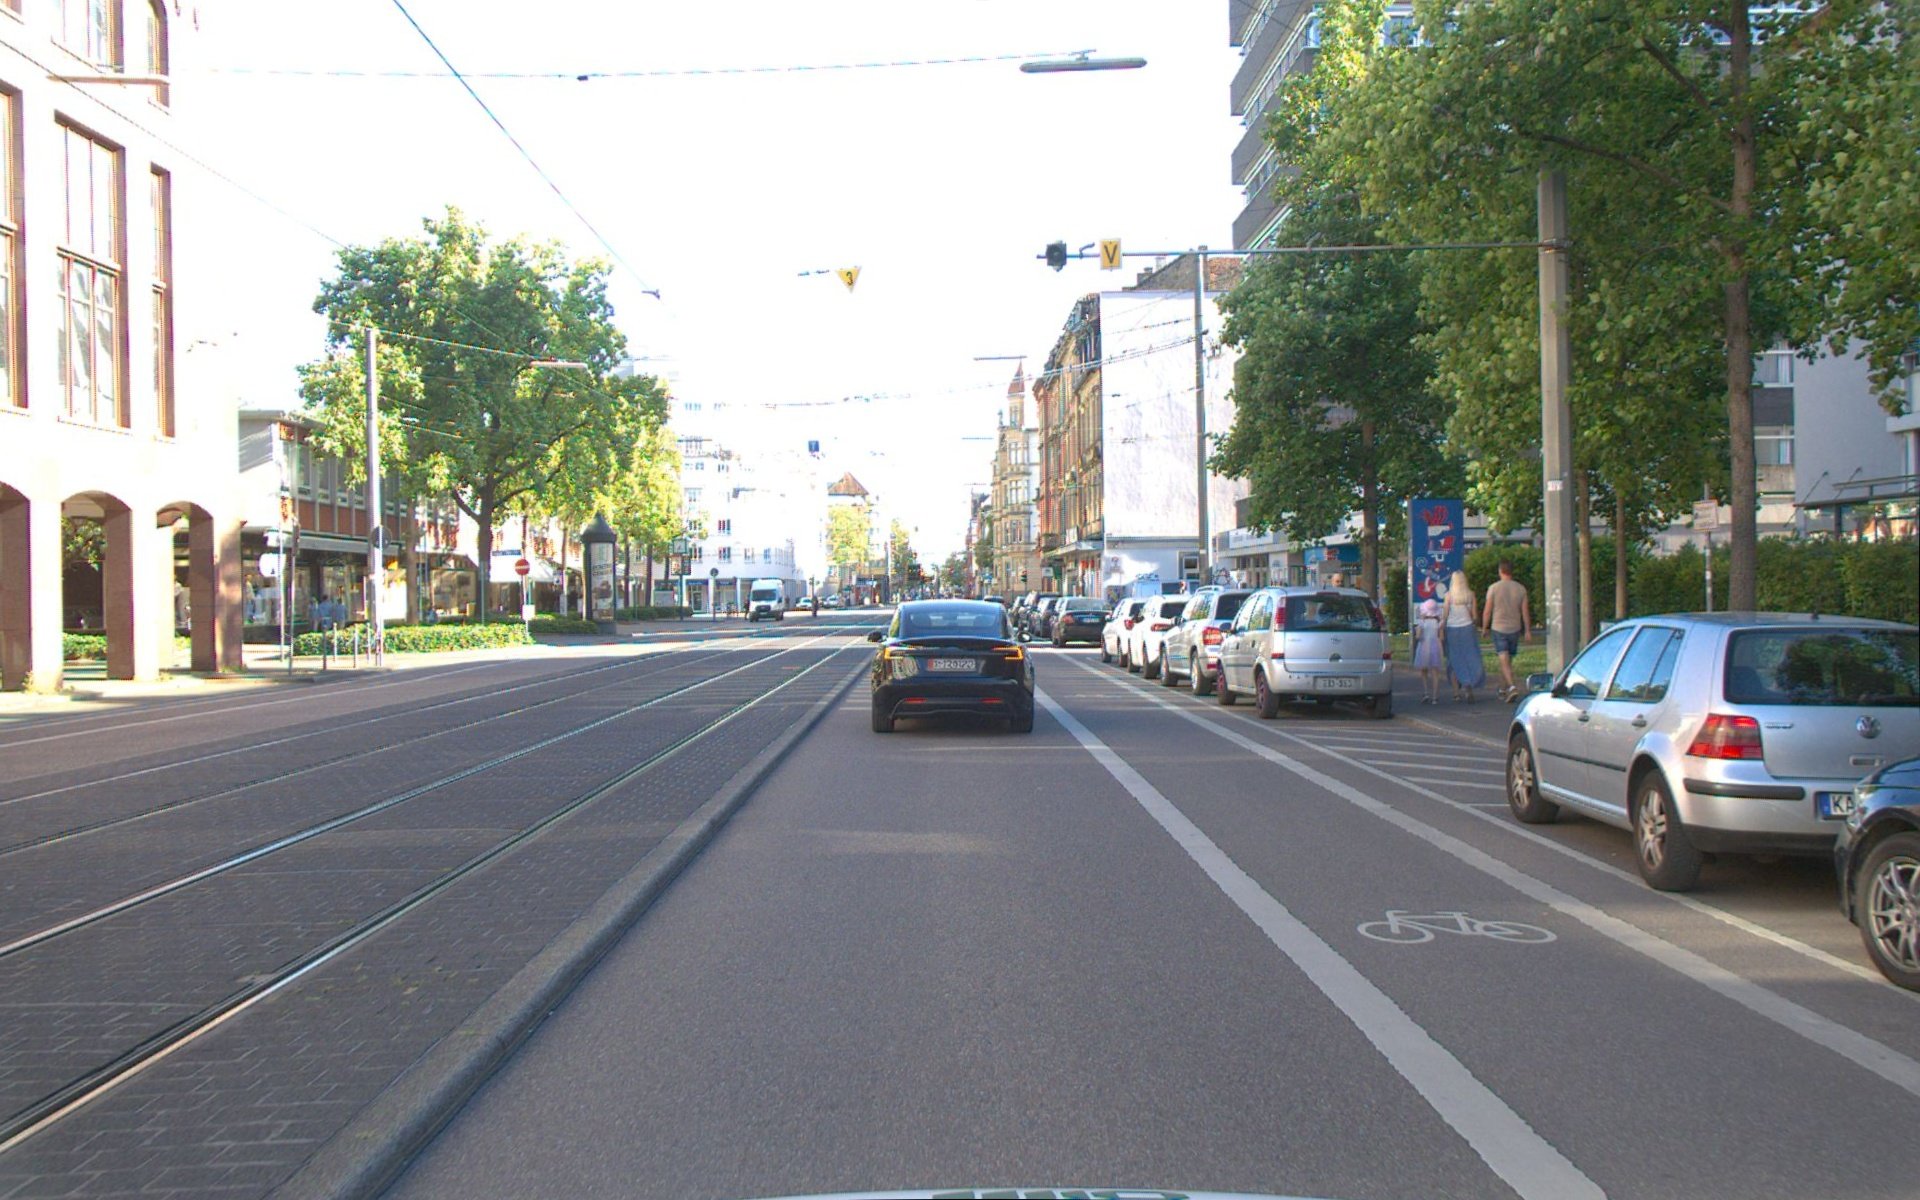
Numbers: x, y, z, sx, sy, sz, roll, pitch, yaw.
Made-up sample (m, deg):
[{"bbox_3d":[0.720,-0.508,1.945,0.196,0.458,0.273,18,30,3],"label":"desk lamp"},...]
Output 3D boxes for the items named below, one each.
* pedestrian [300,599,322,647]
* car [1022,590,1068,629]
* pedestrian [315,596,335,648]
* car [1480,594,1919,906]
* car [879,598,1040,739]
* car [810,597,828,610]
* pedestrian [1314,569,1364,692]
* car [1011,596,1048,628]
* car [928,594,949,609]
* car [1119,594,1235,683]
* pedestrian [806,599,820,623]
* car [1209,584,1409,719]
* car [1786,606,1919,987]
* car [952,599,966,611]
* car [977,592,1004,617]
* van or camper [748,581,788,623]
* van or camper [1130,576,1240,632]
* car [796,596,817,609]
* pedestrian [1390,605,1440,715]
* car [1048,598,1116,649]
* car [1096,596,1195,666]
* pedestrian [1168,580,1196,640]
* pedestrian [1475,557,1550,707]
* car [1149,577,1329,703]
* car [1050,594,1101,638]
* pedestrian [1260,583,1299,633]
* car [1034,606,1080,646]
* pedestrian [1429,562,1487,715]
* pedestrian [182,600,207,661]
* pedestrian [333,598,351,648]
[{"bbox_3d":[-25.534,0.908,65.107,0.614,1.879,0.672,0,0,-4],"label":"pedestrian"},{"bbox_3d":[3.716,0.415,72.982,1.792,1.656,4.095,0,-1,0],"label":"car"},{"bbox_3d":[-23.563,0.819,61.383,0.580,1.905,0.537,0,0,-10],"label":"pedestrian"},{"bbox_3d":[4.603,0.719,10.158,1.713,1.468,4.317,0,1,4],"label":"car"},{"bbox_3d":[-0.063,0.721,19.218,1.685,1.430,3.709,0,1,-2],"label":"car"},{"bbox_3d":[-17.735,0.406,208.414,1.953,1.521,3.999,-2,0,-1],"label":"car"},{"bbox_3d":[5.797,0.459,25.317,0.598,1.839,0.603,-2,0,3],"label":"pedestrian"},{"bbox_3d":[3.477,0.584,83.750,1.680,1.498,3.719,-2,0,0],"label":"car"},{"bbox_3d":[-2.315,0.159,175.623,1.955,1.552,3.996,-1,0,-5],"label":"car"},{"bbox_3d":[4.165,0.690,32.336,1.511,1.597,4.441,0,0,-3],"label":"car"},{"bbox_3d":[-10.408,0.783,116.952,0.826,1.725,0.797,1,0,6],"label":"pedestrian"},{"bbox_3d":[4.536,0.606,22.093,1.679,1.618,4.064,0,1,-2],"label":"car"},{"bbox_3d":[4.643,0.783,5.217,1.766,1.460,4.322,1,0,-2],"label":"car"},{"bbox_3d":[-0.154,0.664,221.821,1.808,1.620,4.000,-2,0,0],"label":"car"},{"bbox_3d":[1.848,0.270,101.542,1.561,1.458,3.686,-2,0,0],"label":"car"},{"bbox_3d":[-12.907,0.116,111.692,2.097,2.700,6.877,-2,0,-2],"label":"van or camper"},{"bbox_3d":[9.953,0.177,73.446,4.548,2.173,1.988,-4,0,3],"label":"van or camper"},{"bbox_3d":[-17.066,0.285,183.800,1.953,1.392,3.999,-2,0,-1],"label":"car"},{"bbox_3d":[6.133,0.798,22.307,0.446,1.422,0.423,-6,0,4],"label":"pedestrian"},{"bbox_3d":[3.738,0.694,51.160,1.676,1.482,4.549,0,0,-1],"label":"car"},{"bbox_3d":[4.177,0.673,37.740,1.570,1.469,3.882,1,0,-3],"label":"car"},{"bbox_3d":[6.964,0.306,51.865,0.707,1.843,0.889,-2,0,-1],"label":"pedestrian"},{"bbox_3d":[7.399,0.422,22.169,0.655,1.930,0.748,-5,0,4],"label":"pedestrian"},{"bbox_3d":[4.427,0.566,26.988,1.887,1.866,4.709,0,1,-4],"label":"car"},{"bbox_3d":[3.979,0.551,57.297,1.546,1.472,3.309,0,-1,0],"label":"car"},{"bbox_3d":[11.483,0.285,59.340,1.130,1.758,1.043,-1,1,24],"label":"pedestrian"},{"bbox_3d":[3.644,0.982,62.656,1.431,1.457,3.812,0,-1,-2],"label":"car"},{"bbox_3d":[6.691,0.510,22.240,0.455,1.987,0.748,-5,0,4],"label":"pedestrian"},{"bbox_3d":[-26.807,1.047,57.934,0.657,2.102,0.599,1,1,44],"label":"pedestrian"},{"bbox_3d":[-23.061,0.861,61.712,0.535,1.833,0.587,0,0,-10],"label":"pedestrian"}]
